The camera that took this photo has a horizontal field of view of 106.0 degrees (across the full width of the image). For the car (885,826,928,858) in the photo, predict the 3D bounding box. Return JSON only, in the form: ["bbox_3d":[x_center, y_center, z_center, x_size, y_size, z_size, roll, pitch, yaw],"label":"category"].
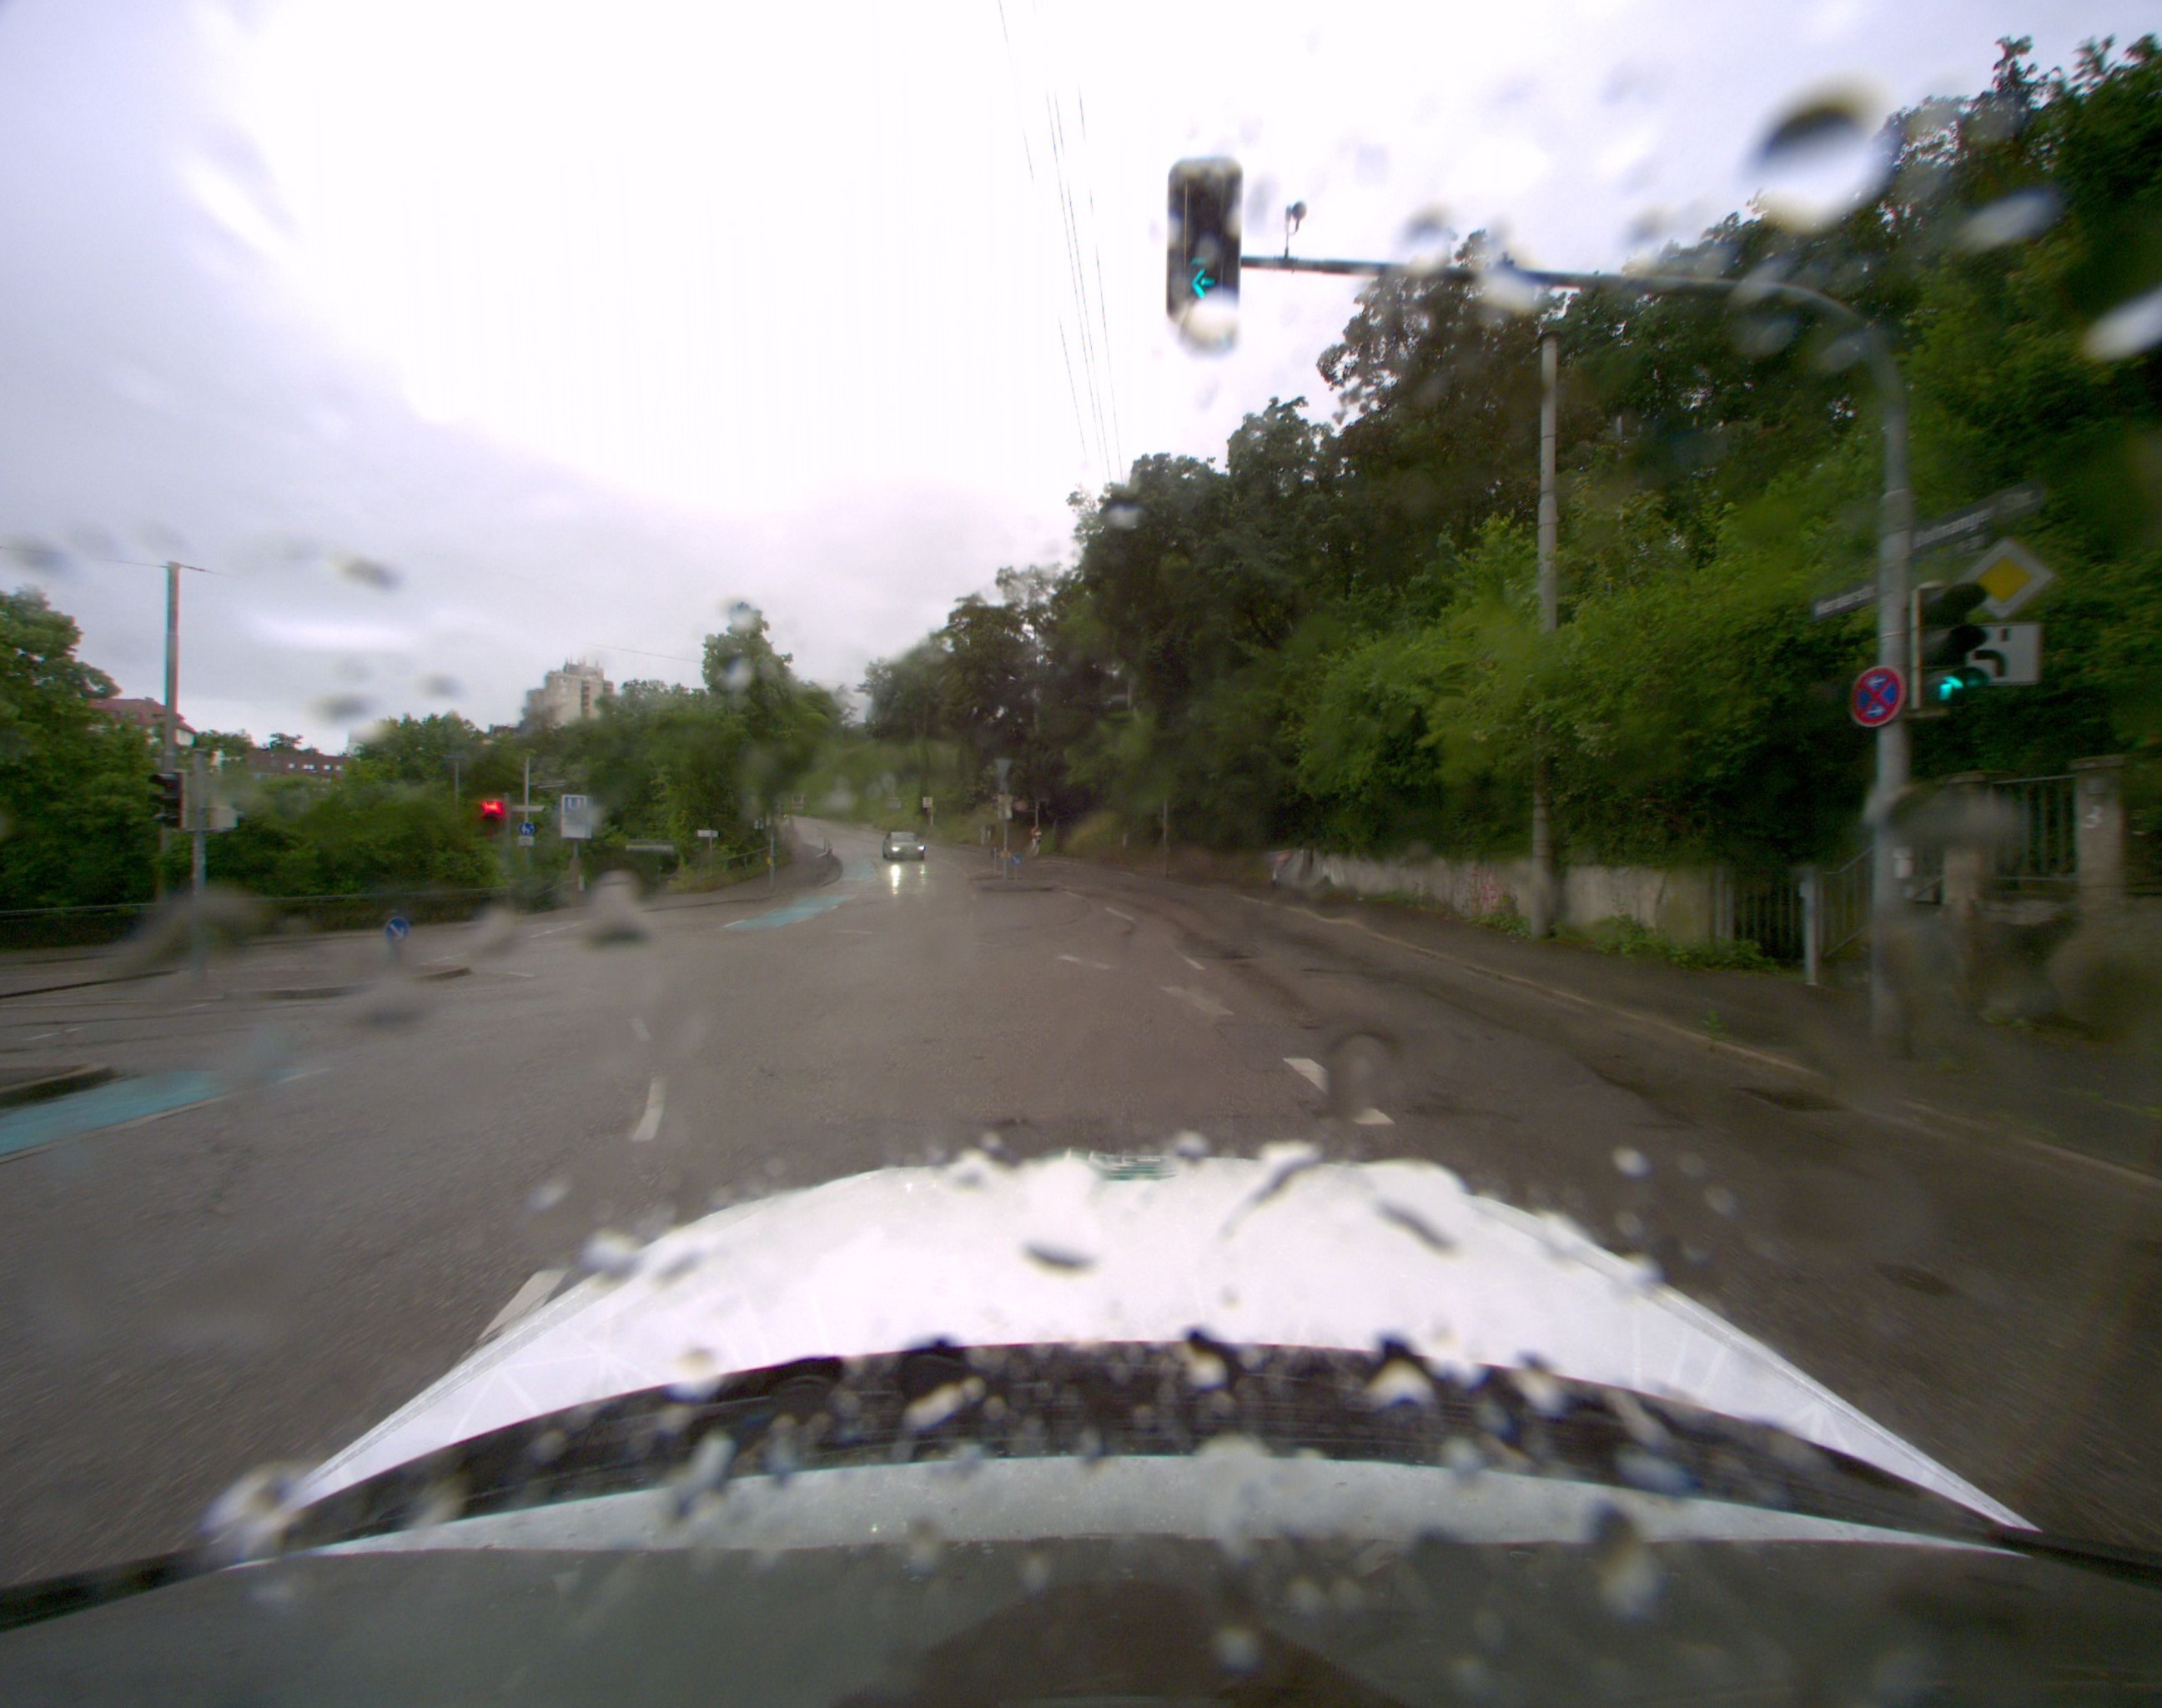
[{"bbox_3d":[-9.563,-0.693,44.501,1.887,1.521,4.667,-2,4,-17],"label":"car"}]

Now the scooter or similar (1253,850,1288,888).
[{"bbox_3d":[5.676,0.439,24.415,0.600,1.075,1.768,0,1,-1],"label":"scooter or similar"}]

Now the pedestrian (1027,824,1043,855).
[{"bbox_3d":[-2.597,-0.814,45.607,0.649,1.752,0.794,0,2,-22],"label":"pedestrian"}]

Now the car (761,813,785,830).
[{"bbox_3d":[-33.567,-3.567,88.586,1.847,1.691,3.964,-2,5,-29],"label":"car"}]
